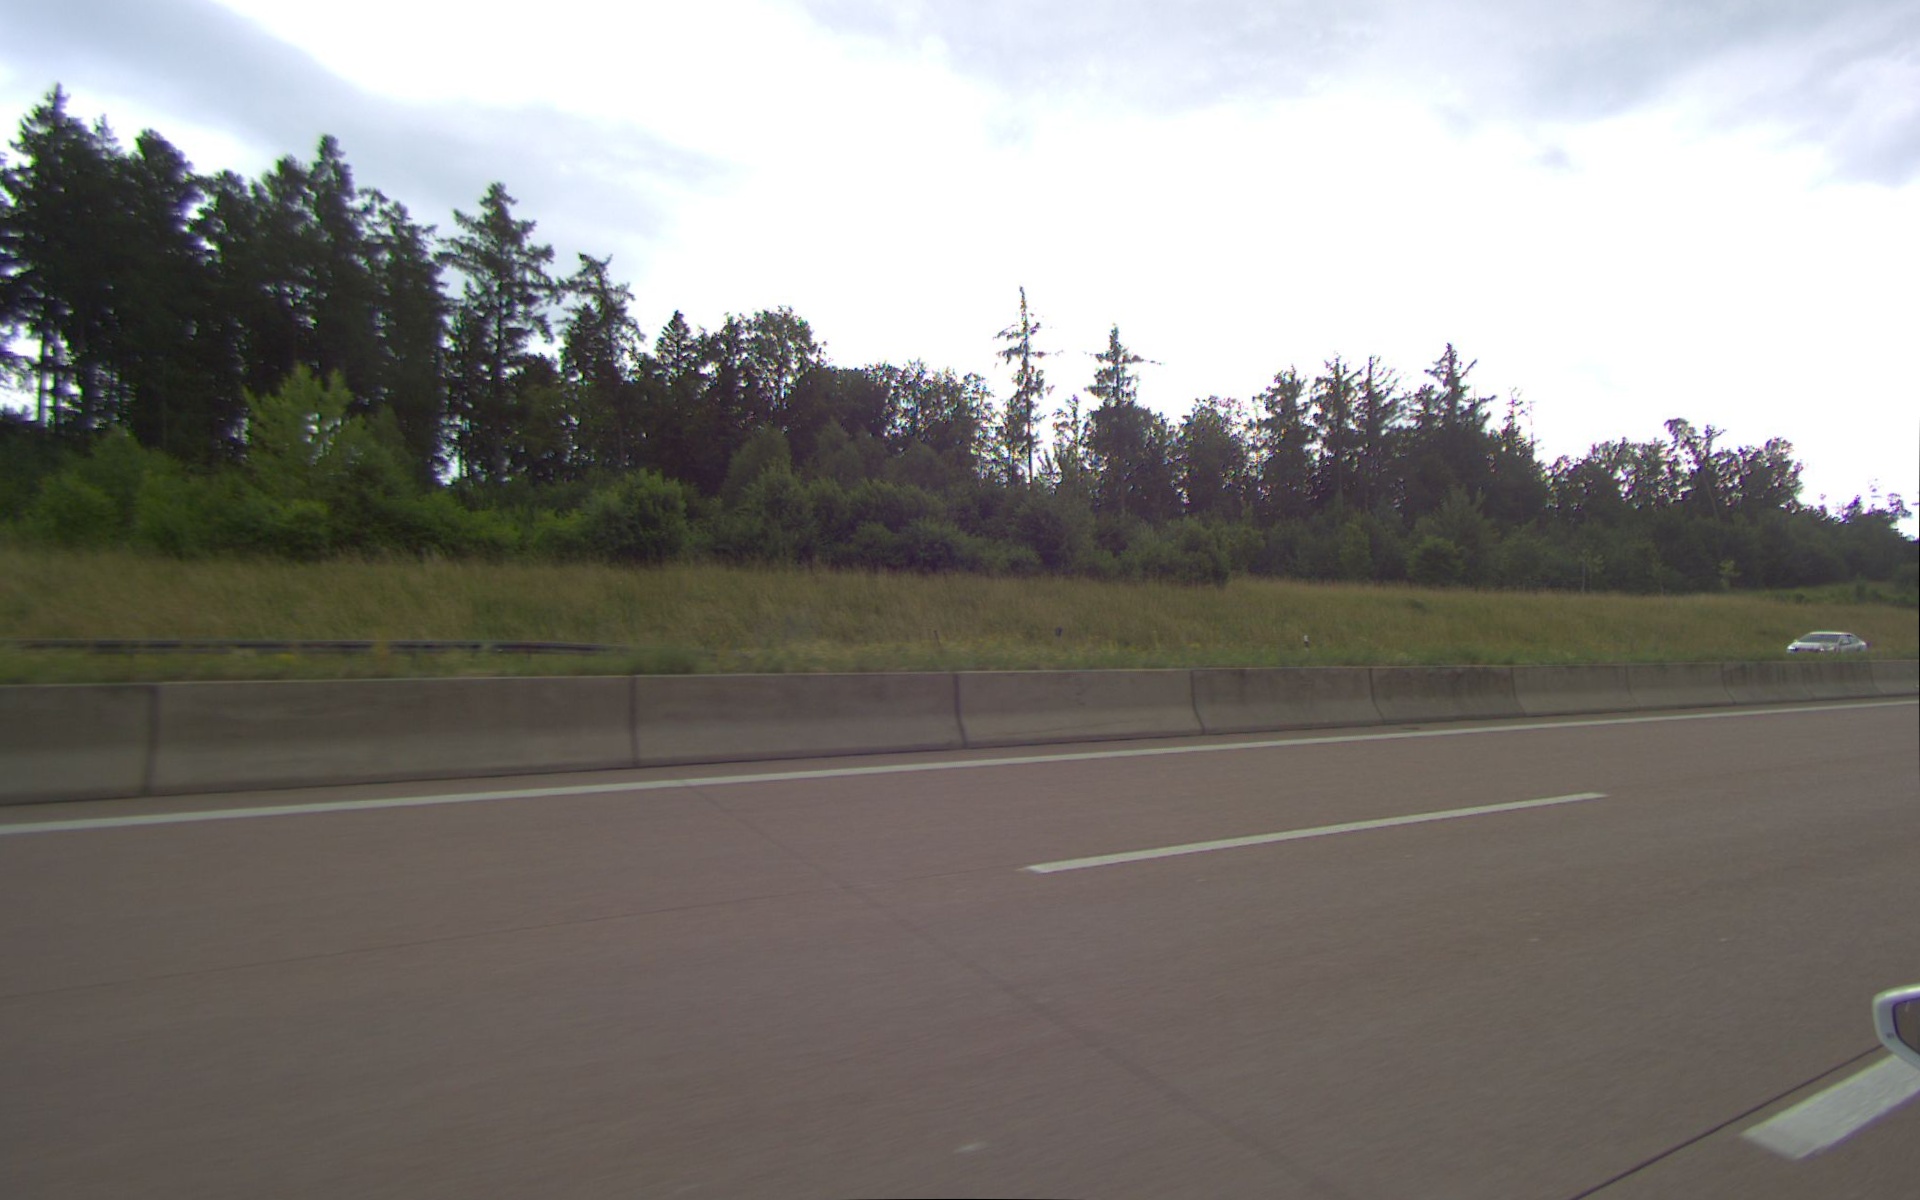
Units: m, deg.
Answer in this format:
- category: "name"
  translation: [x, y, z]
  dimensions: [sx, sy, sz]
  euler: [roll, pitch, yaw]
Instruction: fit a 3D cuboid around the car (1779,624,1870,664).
- category: "car"
  translation: [38.411, 1.974, 44.584]
  dimensions: [4.773, 1.545, 1.661]
  euler: [4, -1, -32]
